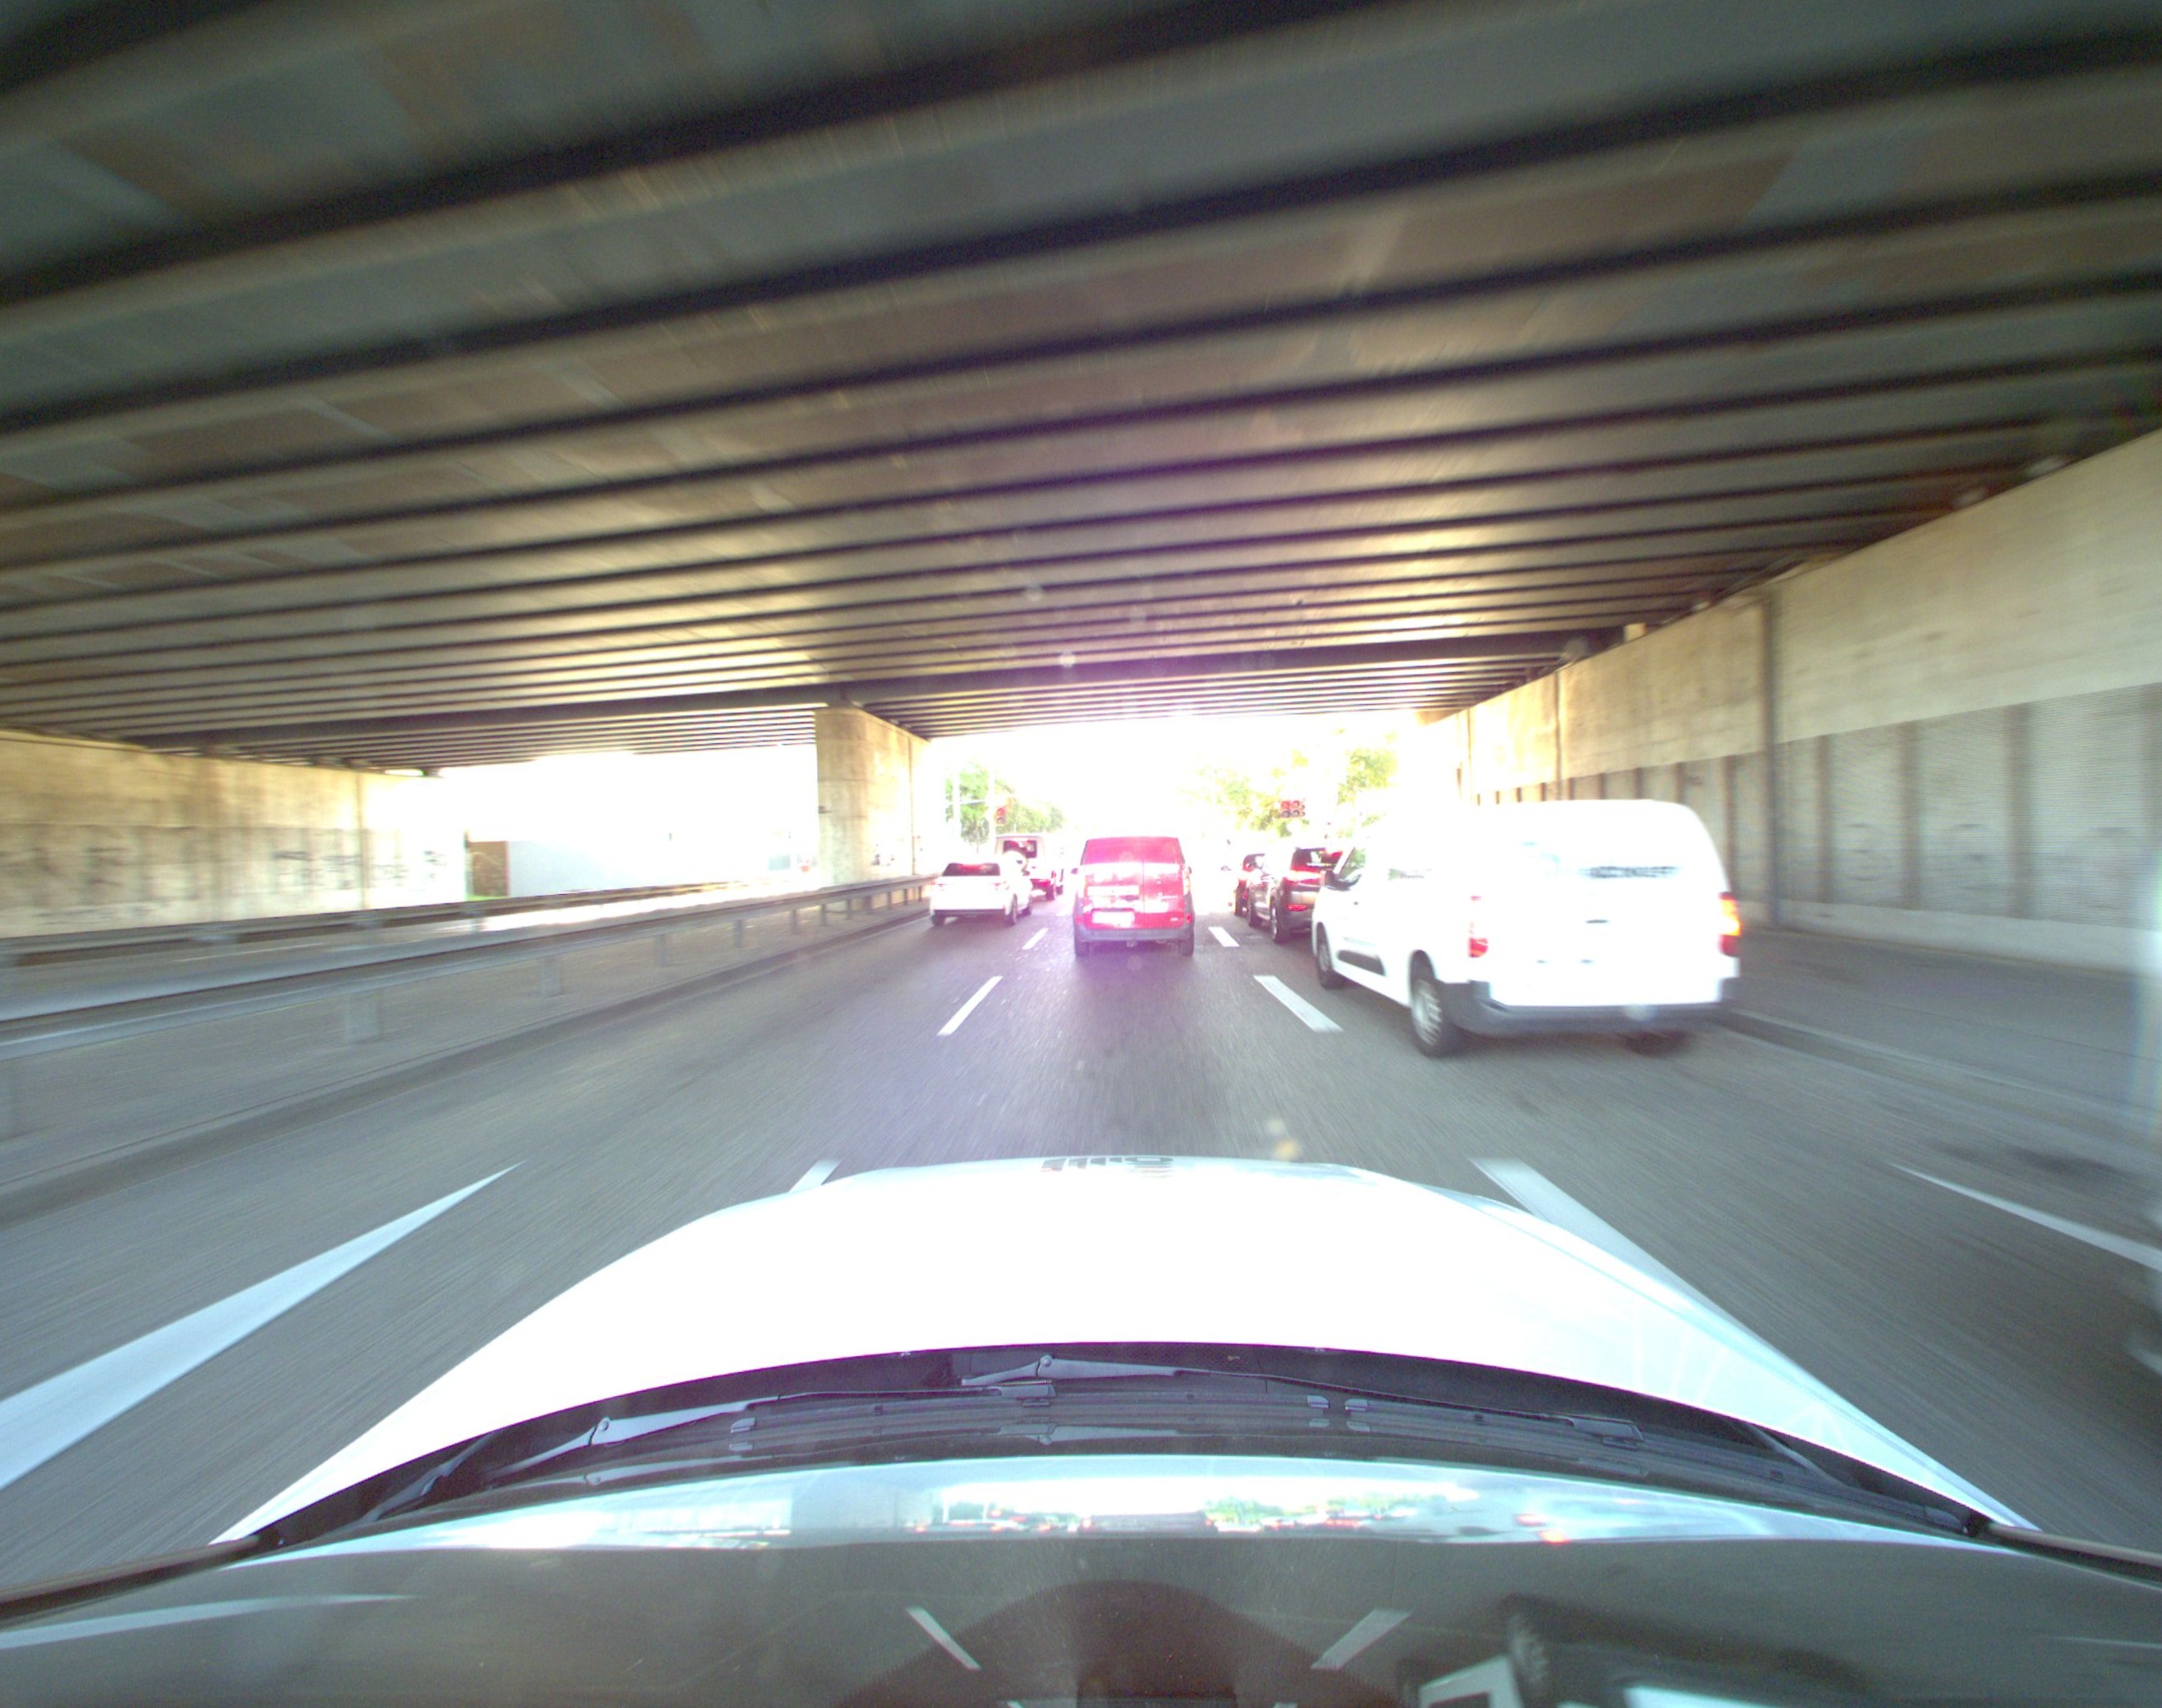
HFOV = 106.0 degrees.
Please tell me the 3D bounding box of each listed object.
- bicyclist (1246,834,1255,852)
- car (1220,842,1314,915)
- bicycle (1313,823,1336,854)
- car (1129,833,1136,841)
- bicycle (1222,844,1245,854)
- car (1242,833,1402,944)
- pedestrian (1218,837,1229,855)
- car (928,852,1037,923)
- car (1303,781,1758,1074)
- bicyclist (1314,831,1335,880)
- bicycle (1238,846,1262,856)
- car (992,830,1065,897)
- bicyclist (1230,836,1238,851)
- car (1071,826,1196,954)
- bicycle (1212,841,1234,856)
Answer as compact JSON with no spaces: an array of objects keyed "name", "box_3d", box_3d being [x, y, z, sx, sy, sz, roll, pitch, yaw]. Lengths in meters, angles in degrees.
[{"name":"bicyclist","box_3d":[14.601,-0.937,70.145,0.751,1.542,0.698,-1,0,7]},{"name":"car","box_3d":[4.345,0.510,19.496,1.645,1.552,3.869,0,1,4]},{"name":"bicycle","box_3d":[8.276,-0.520,27.716,0.672,1.024,1.534,0,0,15]},{"name":"car","box_3d":[14.398,-4.650,227.096,1.985,2.014,4.004,0,0,4]},{"name":"bicycle","box_3d":[13.426,-0.424,71.850,1.906,0.867,0.605,-1,0,0]},{"name":"car","box_3d":[4.007,0.501,14.195,1.771,1.655,3.993,0,0,2]},{"name":"pedestrian","box_3d":[12.186,-0.671,69.639,0.834,1.554,0.556,-1,0,-3]},{"name":"car","box_3d":[-2.065,0.661,18.063,1.685,1.410,3.817,-1,0,4]},{"name":"car","box_3d":[3.420,0.476,7.301,1.806,1.833,4.302,-1,0,2]},{"name":"bicyclist","box_3d":[8.281,0.051,27.728,0.672,1.629,0.646,0,-1,14]},{"name":"bicycle","box_3d":[14.563,-0.254,70.147,1.942,0.874,0.701,-1,0,7]},{"name":"car","box_3d":[-1.546,0.264,25.403,1.806,1.904,3.817,-1,0,3]},{"name":"bicyclist","box_3d":[13.517,-0.929,71.879,0.650,1.329,0.603,0,-1,1]},{"name":"car","box_3d":[0.871,0.493,13.277,1.711,1.764,4.004,-1,0,4]},{"name":"bicycle","box_3d":[12.160,-0.461,69.638,1.725,1.233,0.557,-1,-1,-3]}]
